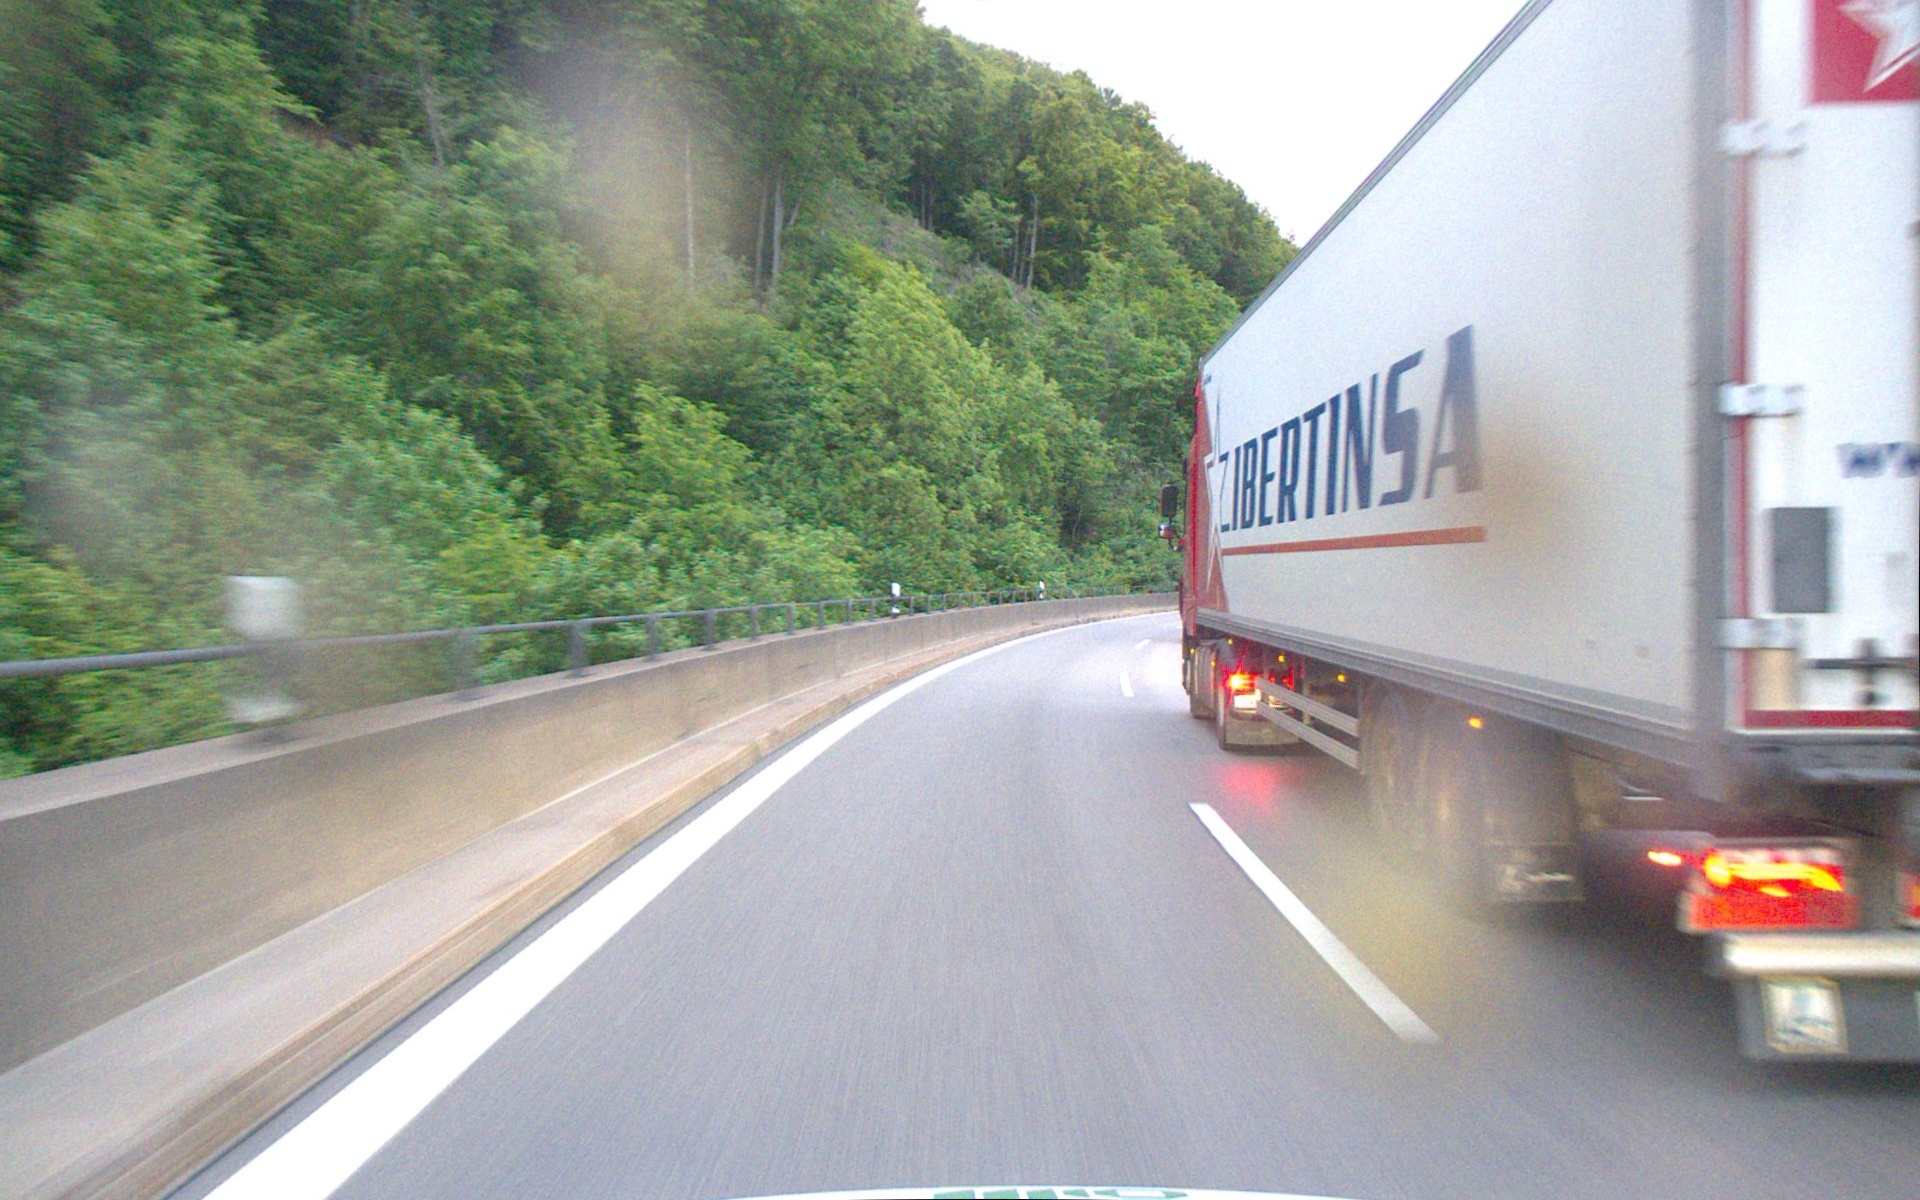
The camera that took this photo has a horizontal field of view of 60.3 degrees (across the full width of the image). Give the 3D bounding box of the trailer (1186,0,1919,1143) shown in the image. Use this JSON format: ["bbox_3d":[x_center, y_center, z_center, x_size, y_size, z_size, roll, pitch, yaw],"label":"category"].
[{"bbox_3d":[3.883,-0.589,11.785,3.033,4.039,14.222,-1,1,2],"label":"trailer"}]

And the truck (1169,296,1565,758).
[{"bbox_3d":[4.144,-0.661,18.406,3.005,4.217,6.448,0,0,2],"label":"truck"}]

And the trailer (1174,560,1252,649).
[{"bbox_3d":[7.392,0.053,48.828,2.011,2.416,5.943,1,1,6],"label":"trailer"}]
